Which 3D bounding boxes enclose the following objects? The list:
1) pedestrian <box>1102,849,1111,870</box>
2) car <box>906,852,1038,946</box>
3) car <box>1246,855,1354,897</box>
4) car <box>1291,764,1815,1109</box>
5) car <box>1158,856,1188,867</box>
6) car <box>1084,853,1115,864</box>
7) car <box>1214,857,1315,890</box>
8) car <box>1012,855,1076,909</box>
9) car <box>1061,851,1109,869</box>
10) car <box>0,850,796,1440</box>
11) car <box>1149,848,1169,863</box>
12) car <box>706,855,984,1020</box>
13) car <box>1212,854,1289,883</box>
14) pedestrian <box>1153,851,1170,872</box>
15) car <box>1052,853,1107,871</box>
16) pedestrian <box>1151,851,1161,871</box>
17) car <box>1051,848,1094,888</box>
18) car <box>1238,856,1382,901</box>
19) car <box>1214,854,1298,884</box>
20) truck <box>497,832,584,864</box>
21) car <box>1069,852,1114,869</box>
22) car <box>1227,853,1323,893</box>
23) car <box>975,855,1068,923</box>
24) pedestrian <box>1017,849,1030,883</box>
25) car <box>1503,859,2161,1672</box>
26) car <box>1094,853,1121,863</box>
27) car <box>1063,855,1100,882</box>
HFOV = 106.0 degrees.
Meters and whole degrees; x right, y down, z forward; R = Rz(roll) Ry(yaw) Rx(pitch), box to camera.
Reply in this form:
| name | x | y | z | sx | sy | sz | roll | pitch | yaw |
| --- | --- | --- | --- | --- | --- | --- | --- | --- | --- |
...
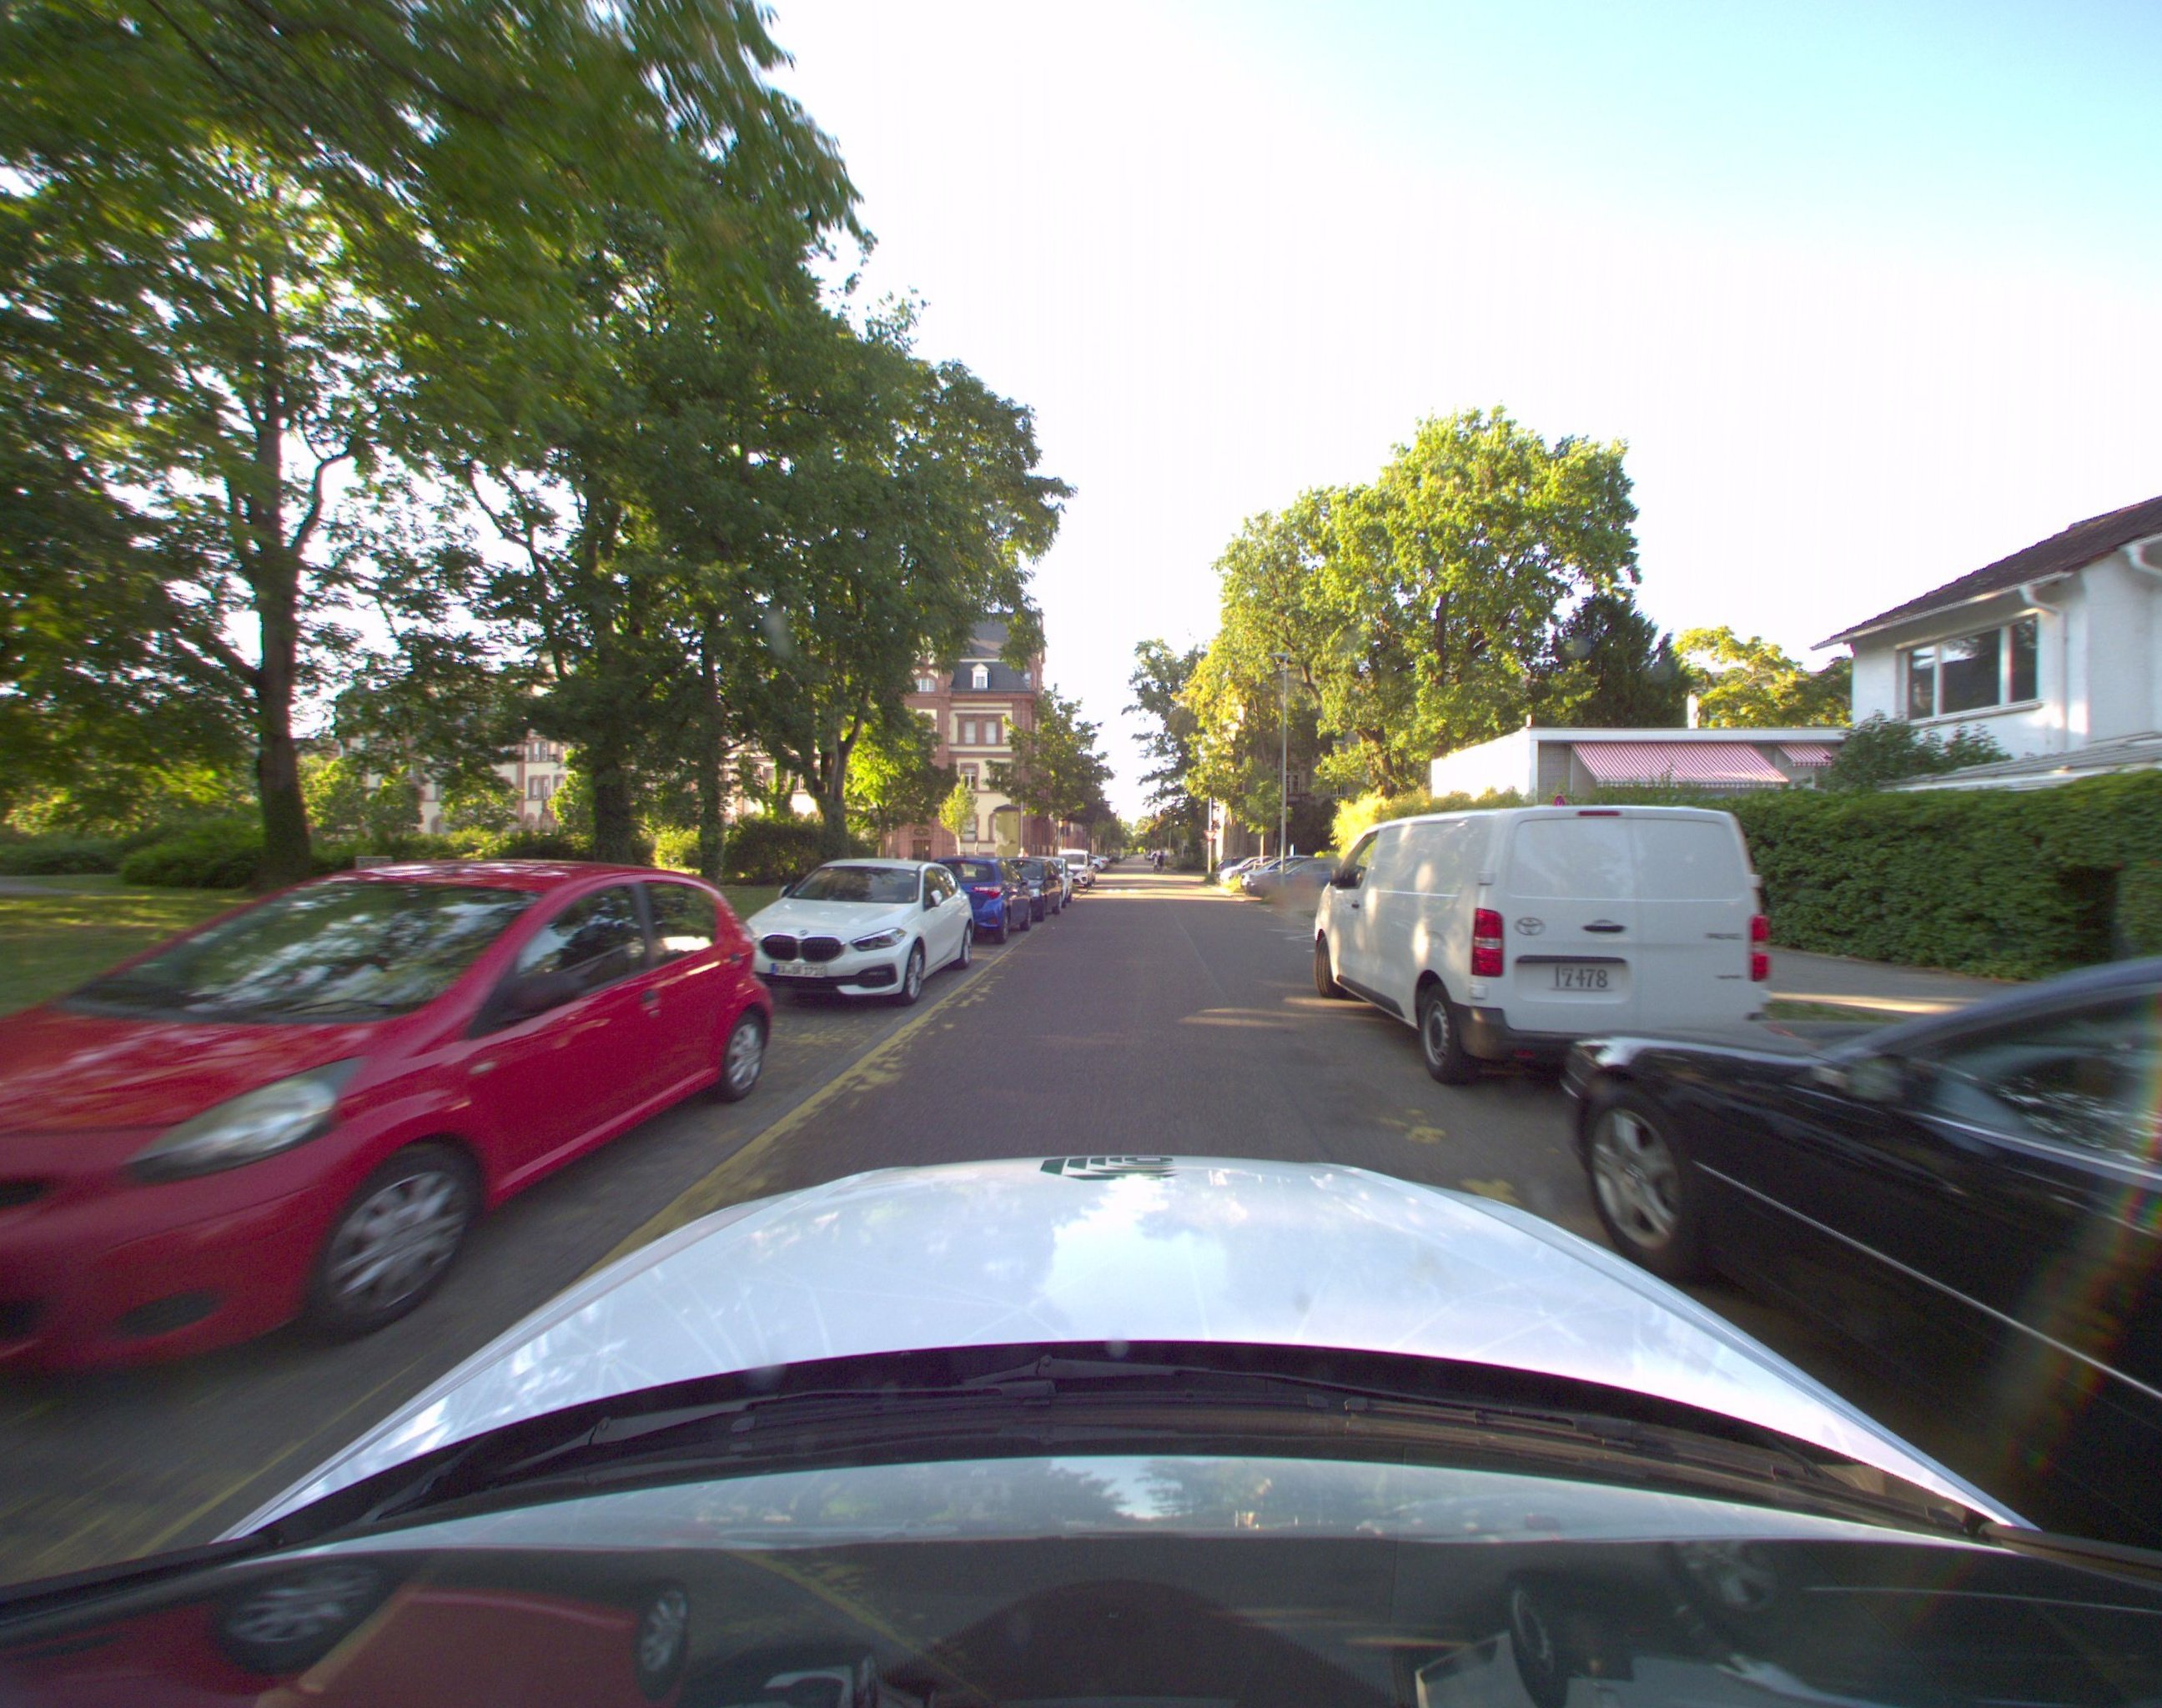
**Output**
| name | x | y | z | sx | sy | sz | roll | pitch | yaw |
| --- | --- | --- | --- | --- | --- | --- | --- | --- | --- |
| pedestrian | 2.455 | 0.550 | 78.995 | 0.783 | 1.962 | 0.719 | 1 | -2 | -5 |
| car | -1.915 | 0.749 | 15.391 | 1.631 | 1.495 | 3.710 | 2 | 0 | 5 |
| car | 8.327 | 0.828 | 31.166 | 3.669 | 1.524 | 1.791 | 0 | 0 | 0 |
| car | 3.442 | 0.477 | 7.379 | 1.945 | 2.013 | 5.156 | 1 | 0 | 2 |
| car | 14.021 | 1.113 | 124.593 | 4.466 | 1.608 | 1.843 | 1 | 0 | 1 |
| car | 2.765 | 0.691 | 119.172 | 4.466 | 1.608 | 1.843 | 1 | 0 | 1 |
| car | 8.867 | 0.917 | 39.609 | 4.475 | 1.549 | 1.891 | 0 | 0 | 0 |
| car | -1.076 | 0.803 | 25.409 | 1.585 | 1.526 | 3.868 | 1 | 0 | 3 |
| car | 0.417 | 0.564 | 76.971 | 4.466 | 1.717 | 1.843 | 0 | 0 | 1 |
| car | -2.774 | 0.726 | 3.796 | 1.381 | 1.423 | 3.431 | 2 | 0 | 5 |
| car | 18.925 | 0.301 | 197.546 | 4.866 | 3.618 | 1.843 | 1 | 0 | 2 |
| car | -2.382 | 0.754 | 9.349 | 1.682 | 1.406 | 3.980 | 2 | 0 | 5 |
| car | 9.251 | 0.808 | 44.722 | 3.935 | 1.517 | 1.876 | 0 | -2 | 5 |
| pedestrian | 7.052 | 0.653 | 71.332 | 1.066 | 1.858 | 0.993 | 1 | 0 | -28 |
| car | -0.092 | 0.697 | 72.497 | 4.824 | 1.594 | 1.843 | 0 | 0 | 1 |
| pedestrian | 6.104 | 0.598 | 66.232 | 0.783 | 1.606 | 0.720 | 1 | -1 | -2 |
| car | -0.349 | 0.631 | 39.441 | 1.773 | 1.841 | 4.556 | 0 | 0 | 3 |
| car | 7.949 | 0.856 | 28.650 | 4.567 | 1.415 | 1.925 | -2 | -1 | 4 |
| car | 9.095 | 0.790 | 42.435 | 3.953 | 1.516 | 1.669 | 0 | 0 | -9 |
| truck | -52.273 | -0.577 | 78.762 | 7.918 | 3.029 | 2.625 | 1 | 0 | 19 |
| car | 1.094 | 0.658 | 81.998 | 4.466 | 1.608 | 1.843 | 1 | 0 | 1 |
| car | 7.968 | 0.780 | 33.646 | 3.489 | 1.584 | 1.758 | 0 | 0 | -7 |
| car | -1.363 | 0.780 | 20.143 | 1.543 | 1.494 | 3.951 | 0 | 0 | 7 |
| pedestrian | -3.058 | 0.613 | 43.264 | 0.597 | 1.784 | 0.946 | 0 | 0 | 0 |
| car | 2.863 | 0.767 | 1.574 | 1.758 | 1.468 | 4.868 | 1 | 0 | 2 |
| car | 4.338 | 0.649 | 133.406 | 4.466 | 1.608 | 1.843 | 1 | 0 | 1 |
| car | 0.085 | 0.813 | 47.293 | 1.773 | 1.505 | 4.558 | 1 | 0 | 4 |
